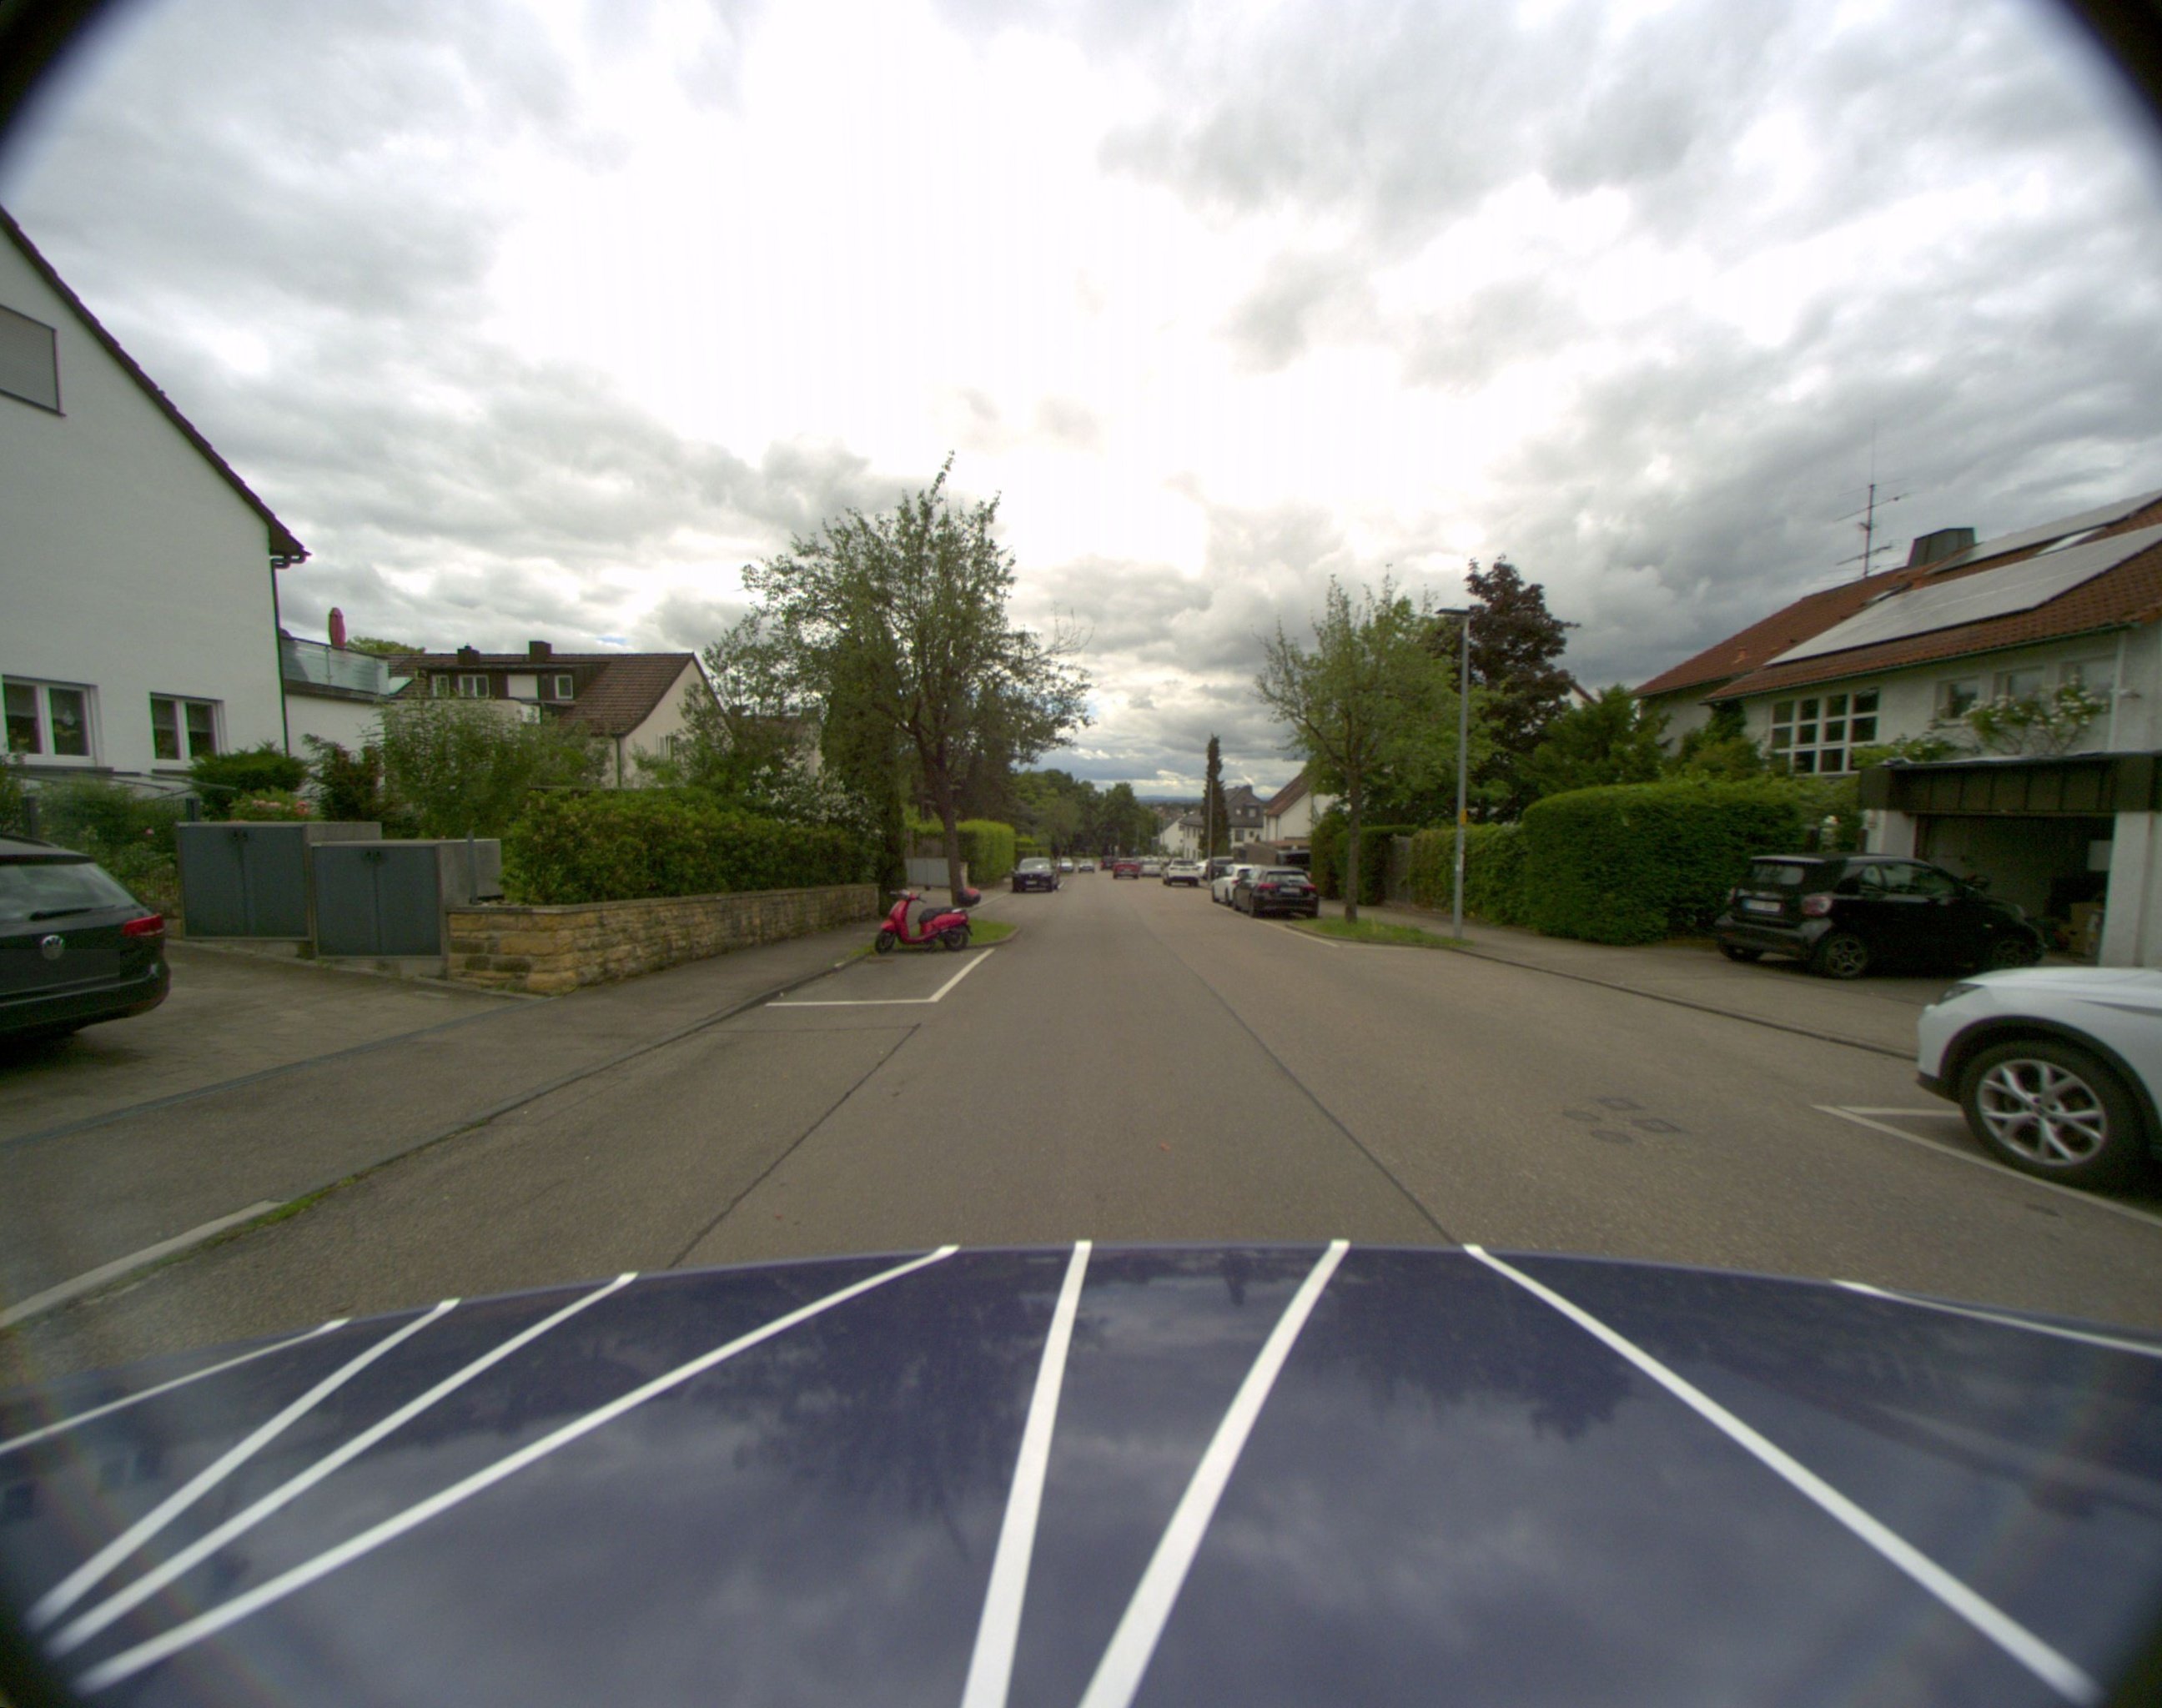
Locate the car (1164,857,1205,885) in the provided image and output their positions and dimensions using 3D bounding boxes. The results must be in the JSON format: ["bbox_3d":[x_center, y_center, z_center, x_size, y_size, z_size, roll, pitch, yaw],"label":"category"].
[{"bbox_3d":[6.035,0.985,44.838,1.935,1.521,4.000,0,0,1],"label":"car"}]

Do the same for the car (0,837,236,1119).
[{"bbox_3d":[-8.222,0.598,4.555,3.998,1.496,1.850,6,1,-3],"label":"car"}]

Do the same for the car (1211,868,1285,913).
[{"bbox_3d":[5.755,1.213,26.658,1.725,1.368,4.000,1,0,1],"label":"car"}]

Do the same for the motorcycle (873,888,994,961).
[{"bbox_3d":[-2.533,1.177,13.087,1.942,1.127,0.658,0,1,-26],"label":"motorcycle"}]

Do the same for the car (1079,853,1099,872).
[{"bbox_3d":[0.827,0.883,83.405,1.999,2.002,3.999,-2,1,-2],"label":"car"}]

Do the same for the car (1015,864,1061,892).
[{"bbox_3d":[-2.041,1.129,37.107,1.998,1.221,4.000,0,1,1],"label":"car"}]

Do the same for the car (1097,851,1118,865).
[{"bbox_3d":[3.401,0.501,98.359,2.000,1.712,3.997,-1,1,-8],"label":"car"}]

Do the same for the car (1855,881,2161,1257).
[{"bbox_3d":[5.342,0.911,2.148,1.891,1.481,4.342,1,0,1],"label":"car"}]

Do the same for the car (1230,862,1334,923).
[{"bbox_3d":[5.610,1.019,21.752,1.944,1.540,4.005,1,0,1],"label":"car"}]

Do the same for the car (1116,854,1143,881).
[{"bbox_3d":[3.744,1.021,59.463,1.872,2.002,4.000,-2,1,1],"label":"car"}]

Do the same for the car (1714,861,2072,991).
[{"bbox_3d":[10.300,0.855,9.833,2.887,1.497,1.499,0,1,5],"label":"car"}]

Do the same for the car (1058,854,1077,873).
[{"bbox_3d":[-1.466,1.043,83.887,1.746,2.002,4.000,-2,1,2],"label":"car"}]
